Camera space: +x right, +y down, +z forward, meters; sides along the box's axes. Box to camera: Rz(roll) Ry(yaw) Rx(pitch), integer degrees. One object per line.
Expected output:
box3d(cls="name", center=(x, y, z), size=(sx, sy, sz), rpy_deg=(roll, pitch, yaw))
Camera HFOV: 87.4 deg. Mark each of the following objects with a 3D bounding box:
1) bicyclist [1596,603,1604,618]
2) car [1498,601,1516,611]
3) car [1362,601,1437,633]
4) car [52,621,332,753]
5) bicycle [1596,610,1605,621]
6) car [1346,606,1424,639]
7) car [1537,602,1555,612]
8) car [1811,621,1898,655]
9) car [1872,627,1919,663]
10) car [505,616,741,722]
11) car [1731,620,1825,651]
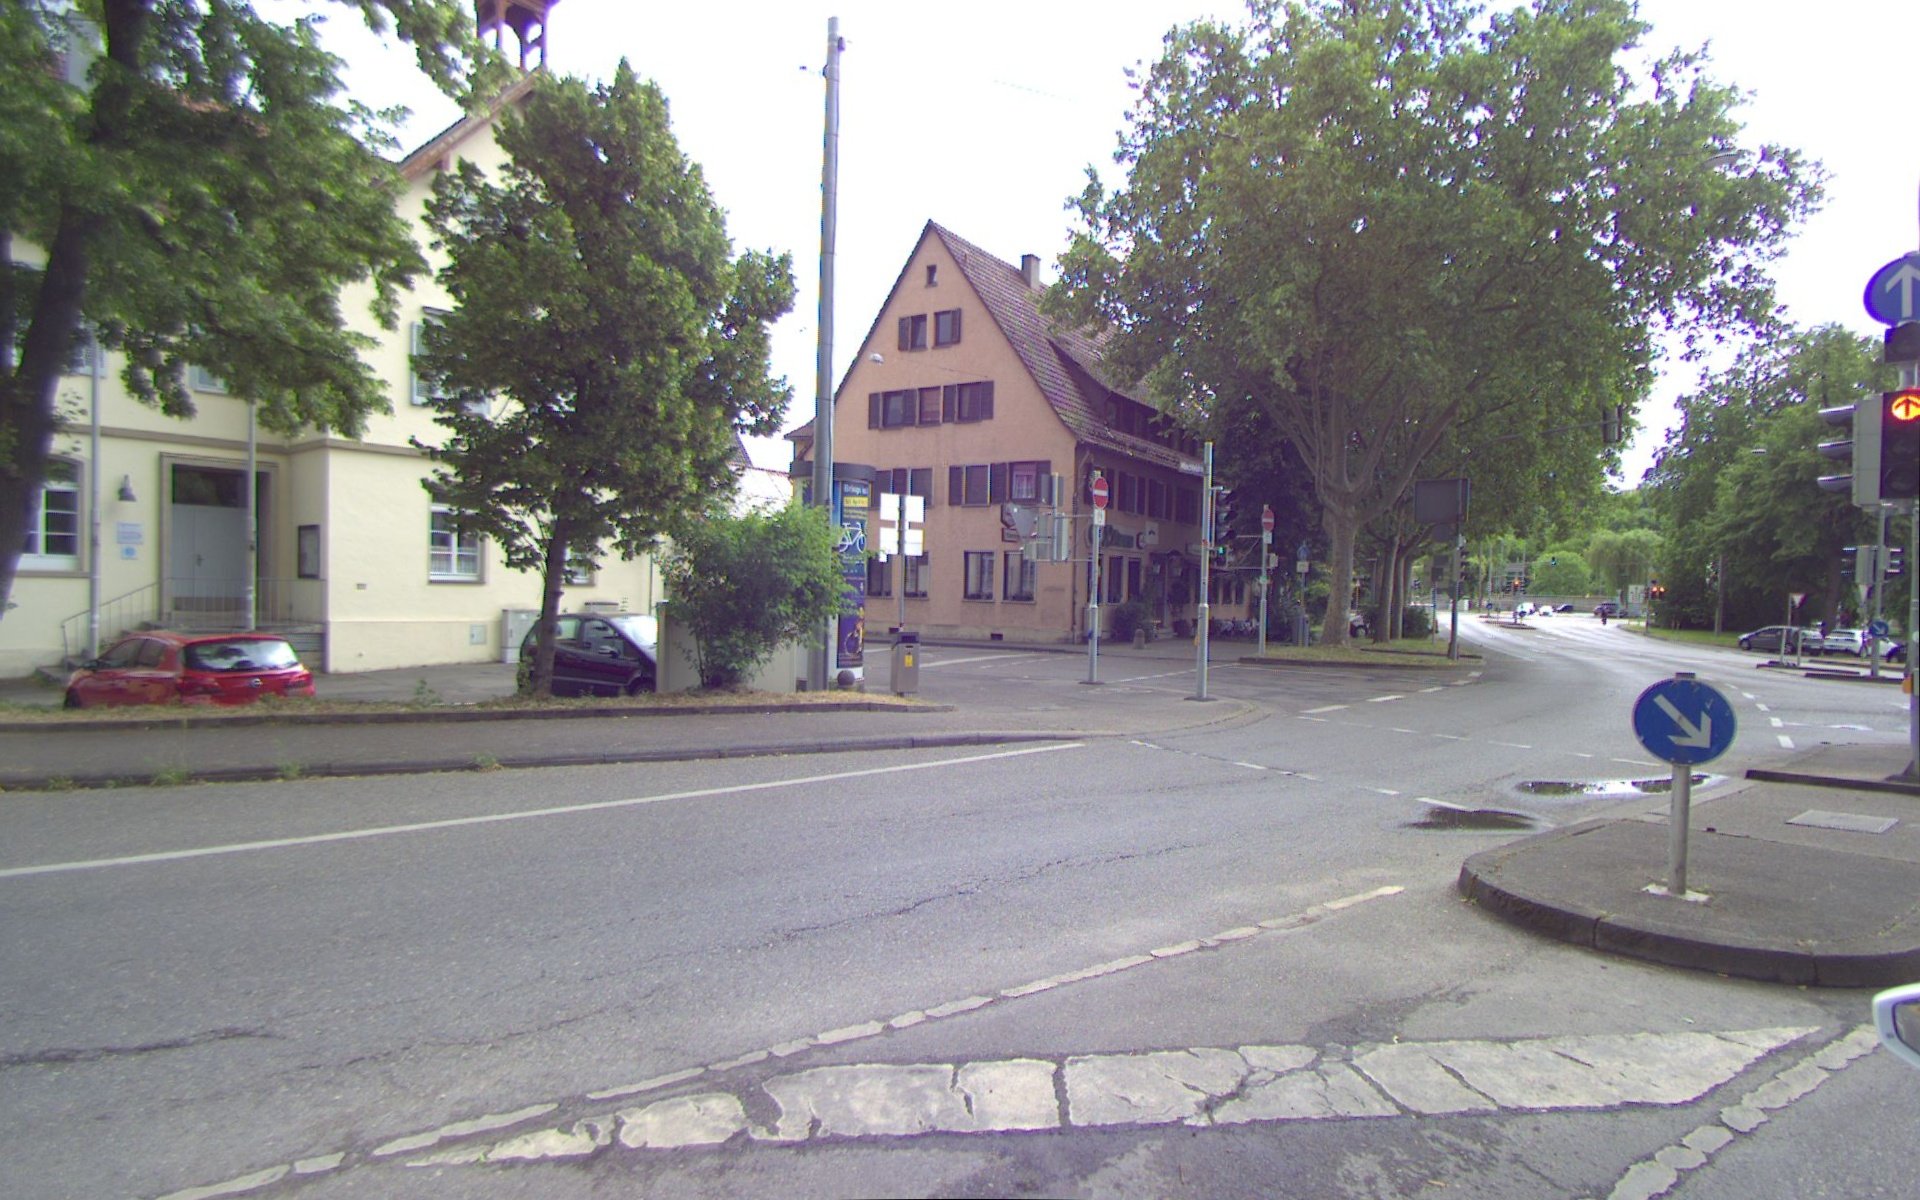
box3d(cls="bicyclist", center=(61.302, 0.995, 96.197), size=(0.532, 1.359, 0.713), rpy_deg=(2, 0, 30))
box3d(cls="car", center=(85.273, 0.952, 156.669), size=(1.553, 1.506, 3.337), rpy_deg=(3, 0, 12))
box3d(cls="car", center=(25.733, 0.999, 58.788), size=(3.924, 1.706, 1.998), rpy_deg=(1, 0, 25))
box3d(cls="car", center=(-10.242, 1.052, 13.360), size=(3.653, 1.401, 1.659), rpy_deg=(2, 0, 30))
box3d(cls="bicycle", center=(61.324, 1.504, 96.198), size=(0.548, 0.971, 2.029), rpy_deg=(2, 0, 30))
box3d(cls="car", center=(24.001, 1.244, 56.712), size=(3.924, 1.706, 1.998), rpy_deg=(1, 0, 25))
box3d(cls="car", center=(90.766, 1.136, 155.492), size=(1.469, 1.436, 3.028), rpy_deg=(3, 0, 12))
box3d(cls="car", center=(47.466, 2.028, 53.331), size=(3.696, 1.662, 1.859), rpy_deg=(2, 0, -19))
box3d(cls="car", center=(39.451, 1.852, 40.770), size=(1.746, 1.370, 3.326), rpy_deg=(2, 0, -2))
box3d(cls="car", center=(-5.527, 1.054, 16.445), size=(3.507, 1.459, 1.644), rpy_deg=(2, 0, 26))
box3d(cls="car", center=(43.822, 1.867, 53.912), size=(1.592, 1.485, 3.778), rpy_deg=(2, 0, -11))
